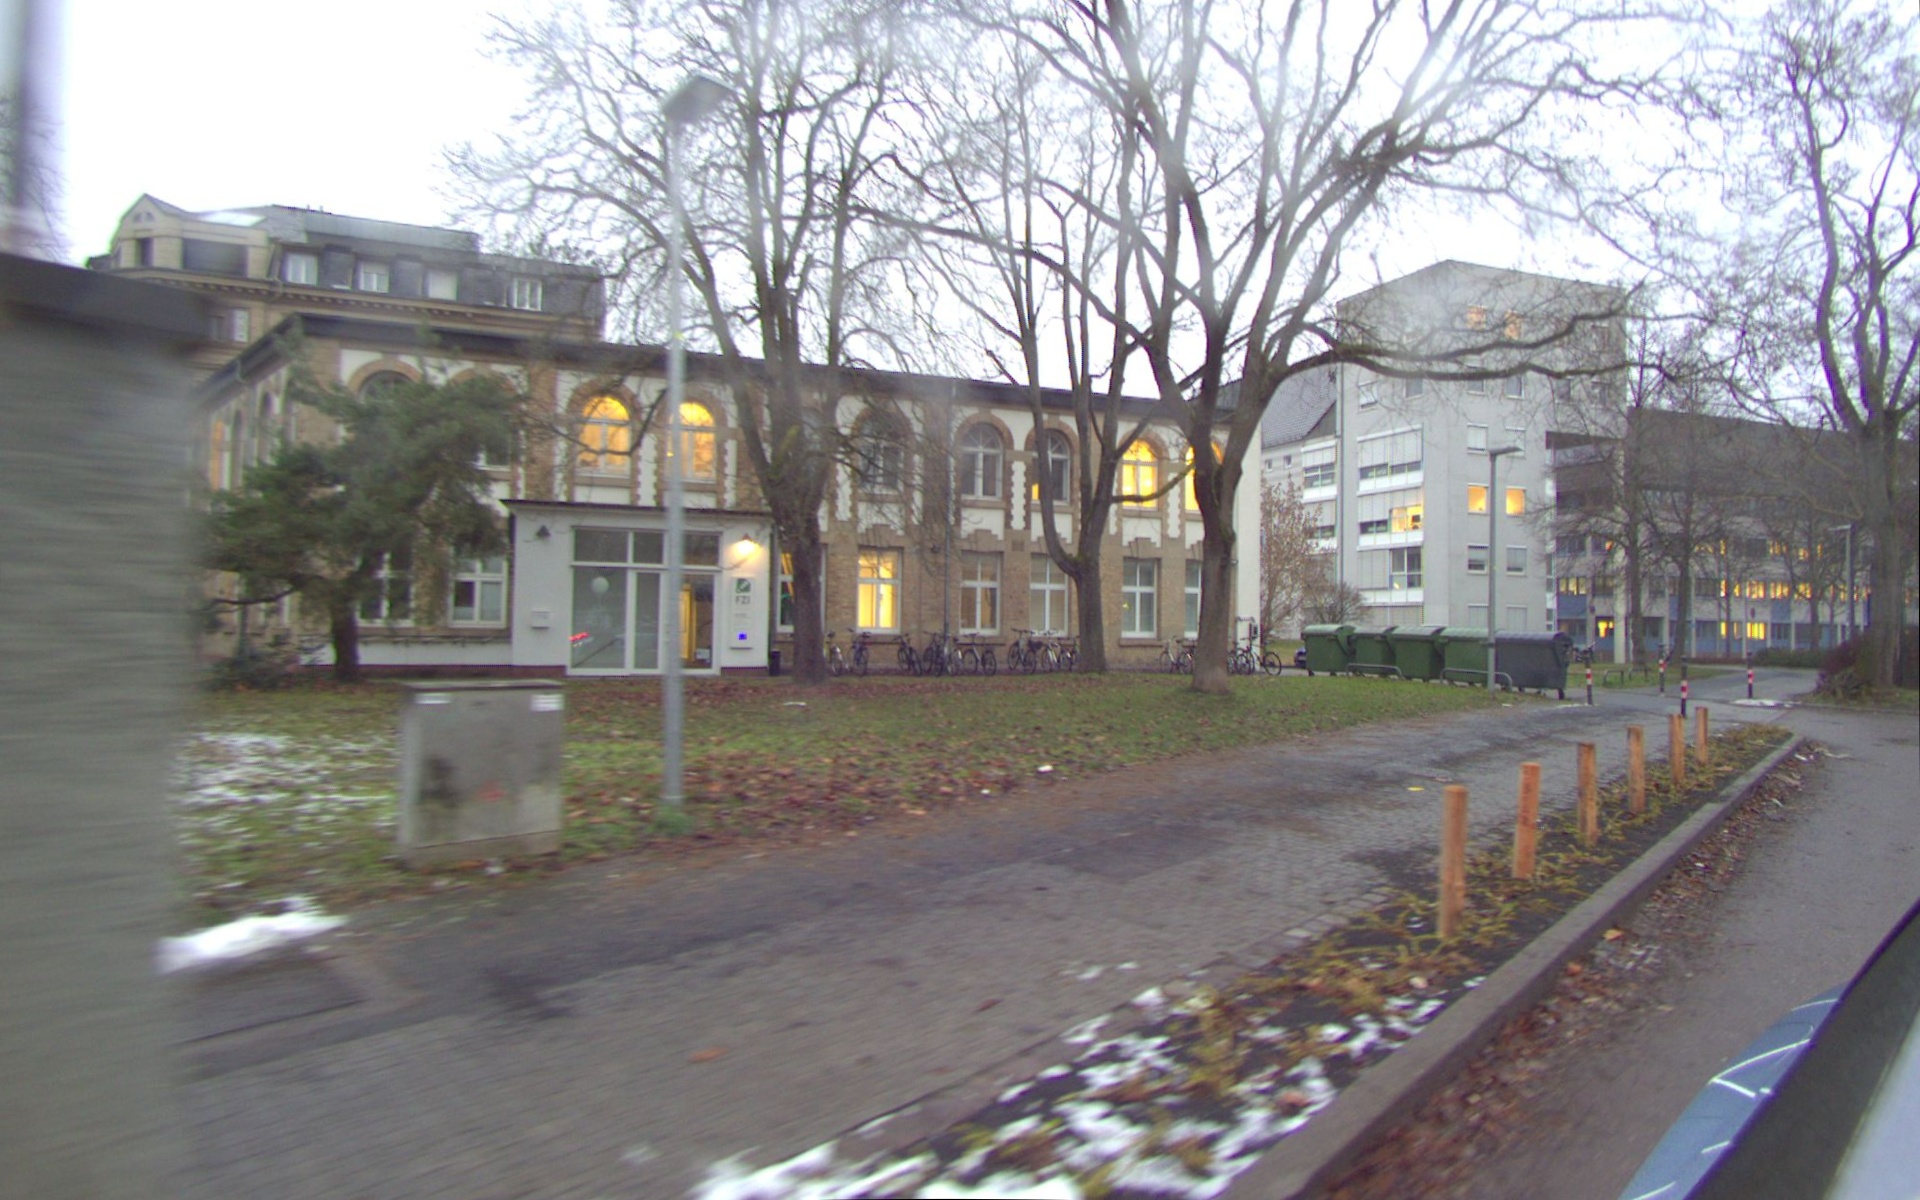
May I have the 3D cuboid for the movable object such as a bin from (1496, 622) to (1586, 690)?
[{"bbox_3d":[12.251,1.152,21.361,1.043,1.333,1.324,1,1,-36],"label":"movable object such as a bin"}]

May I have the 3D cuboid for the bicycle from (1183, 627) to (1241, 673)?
[{"bbox_3d":[6.929,1.349,27.926,0.561,1.172,2.146,1,-1,-16],"label":"bicycle"}]

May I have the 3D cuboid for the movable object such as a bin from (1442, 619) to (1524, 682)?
[{"bbox_3d":[11.698,1.113,22.680,0.967,1.331,1.310,1,-1,-23],"label":"movable object such as a bin"}]

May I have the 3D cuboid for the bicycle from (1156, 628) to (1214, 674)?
[{"bbox_3d":[6.112,1.366,27.622,0.561,1.172,2.146,1,-1,-16],"label":"bicycle"}]

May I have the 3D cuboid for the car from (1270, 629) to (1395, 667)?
[{"bbox_3d":[13.917,1.795,37.900,3.916,1.297,2.004,1,-1,-13],"label":"car"}]

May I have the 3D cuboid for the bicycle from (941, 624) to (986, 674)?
[{"bbox_3d":[0.063,1.216,25.572,0.561,1.172,2.146,1,-1,-16],"label":"bicycle"}]

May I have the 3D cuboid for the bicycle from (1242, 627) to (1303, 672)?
[{"bbox_3d":[8.767,1.377,28.486,0.561,1.172,2.146,1,-1,-16],"label":"bicycle"}]

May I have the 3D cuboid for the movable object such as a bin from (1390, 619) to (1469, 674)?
[{"bbox_3d":[11.153,1.086,24.087,0.967,1.241,1.441,1,-1,-23],"label":"movable object such as a bin"}]

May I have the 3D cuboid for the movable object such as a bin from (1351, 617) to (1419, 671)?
[{"bbox_3d":[10.702,1.093,25.506,0.967,1.296,1.254,1,-1,-23],"label":"movable object such as a bin"}]

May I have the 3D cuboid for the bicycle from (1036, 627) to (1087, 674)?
[{"bbox_3d":[2.626,1.301,26.473,0.561,1.125,2.146,1,-1,-16],"label":"bicycle"}]

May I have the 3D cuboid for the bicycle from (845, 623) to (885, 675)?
[{"bbox_3d":[-2.328,1.162,24.641,0.561,1.172,2.146,1,-1,-16],"label":"bicycle"}]

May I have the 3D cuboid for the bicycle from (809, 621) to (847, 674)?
[{"bbox_3d":[-3.198,1.114,24.373,0.561,1.172,2.146,1,-1,-16],"label":"bicycle"}]

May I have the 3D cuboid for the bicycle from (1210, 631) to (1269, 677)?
[{"bbox_3d":[7.806,1.483,28.345,0.561,1.172,2.146,1,-1,-16],"label":"bicycle"}]

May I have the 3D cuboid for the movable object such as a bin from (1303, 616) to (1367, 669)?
[{"bbox_3d":[9.899,1.106,26.762,0.967,1.331,1.266,1,-1,-23],"label":"movable object such as a bin"}]

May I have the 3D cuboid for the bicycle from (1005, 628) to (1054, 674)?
[{"bbox_3d":[1.782,1.299,26.176,0.561,1.106,2.146,1,-1,-16],"label":"bicycle"}]

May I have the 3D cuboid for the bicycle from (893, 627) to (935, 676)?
[{"bbox_3d":[-1.163,1.249,25.196,0.561,1.063,2.146,1,1,-16],"label":"bicycle"}]

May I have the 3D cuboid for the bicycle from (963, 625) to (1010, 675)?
[{"bbox_3d":[0.641,1.245,25.756,0.561,1.172,2.146,1,-1,-16],"label":"bicycle"}]

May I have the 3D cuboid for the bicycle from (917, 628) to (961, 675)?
[{"bbox_3d":[-0.556,1.266,25.394,0.561,1.029,2.146,1,1,-16],"label":"bicycle"}]
